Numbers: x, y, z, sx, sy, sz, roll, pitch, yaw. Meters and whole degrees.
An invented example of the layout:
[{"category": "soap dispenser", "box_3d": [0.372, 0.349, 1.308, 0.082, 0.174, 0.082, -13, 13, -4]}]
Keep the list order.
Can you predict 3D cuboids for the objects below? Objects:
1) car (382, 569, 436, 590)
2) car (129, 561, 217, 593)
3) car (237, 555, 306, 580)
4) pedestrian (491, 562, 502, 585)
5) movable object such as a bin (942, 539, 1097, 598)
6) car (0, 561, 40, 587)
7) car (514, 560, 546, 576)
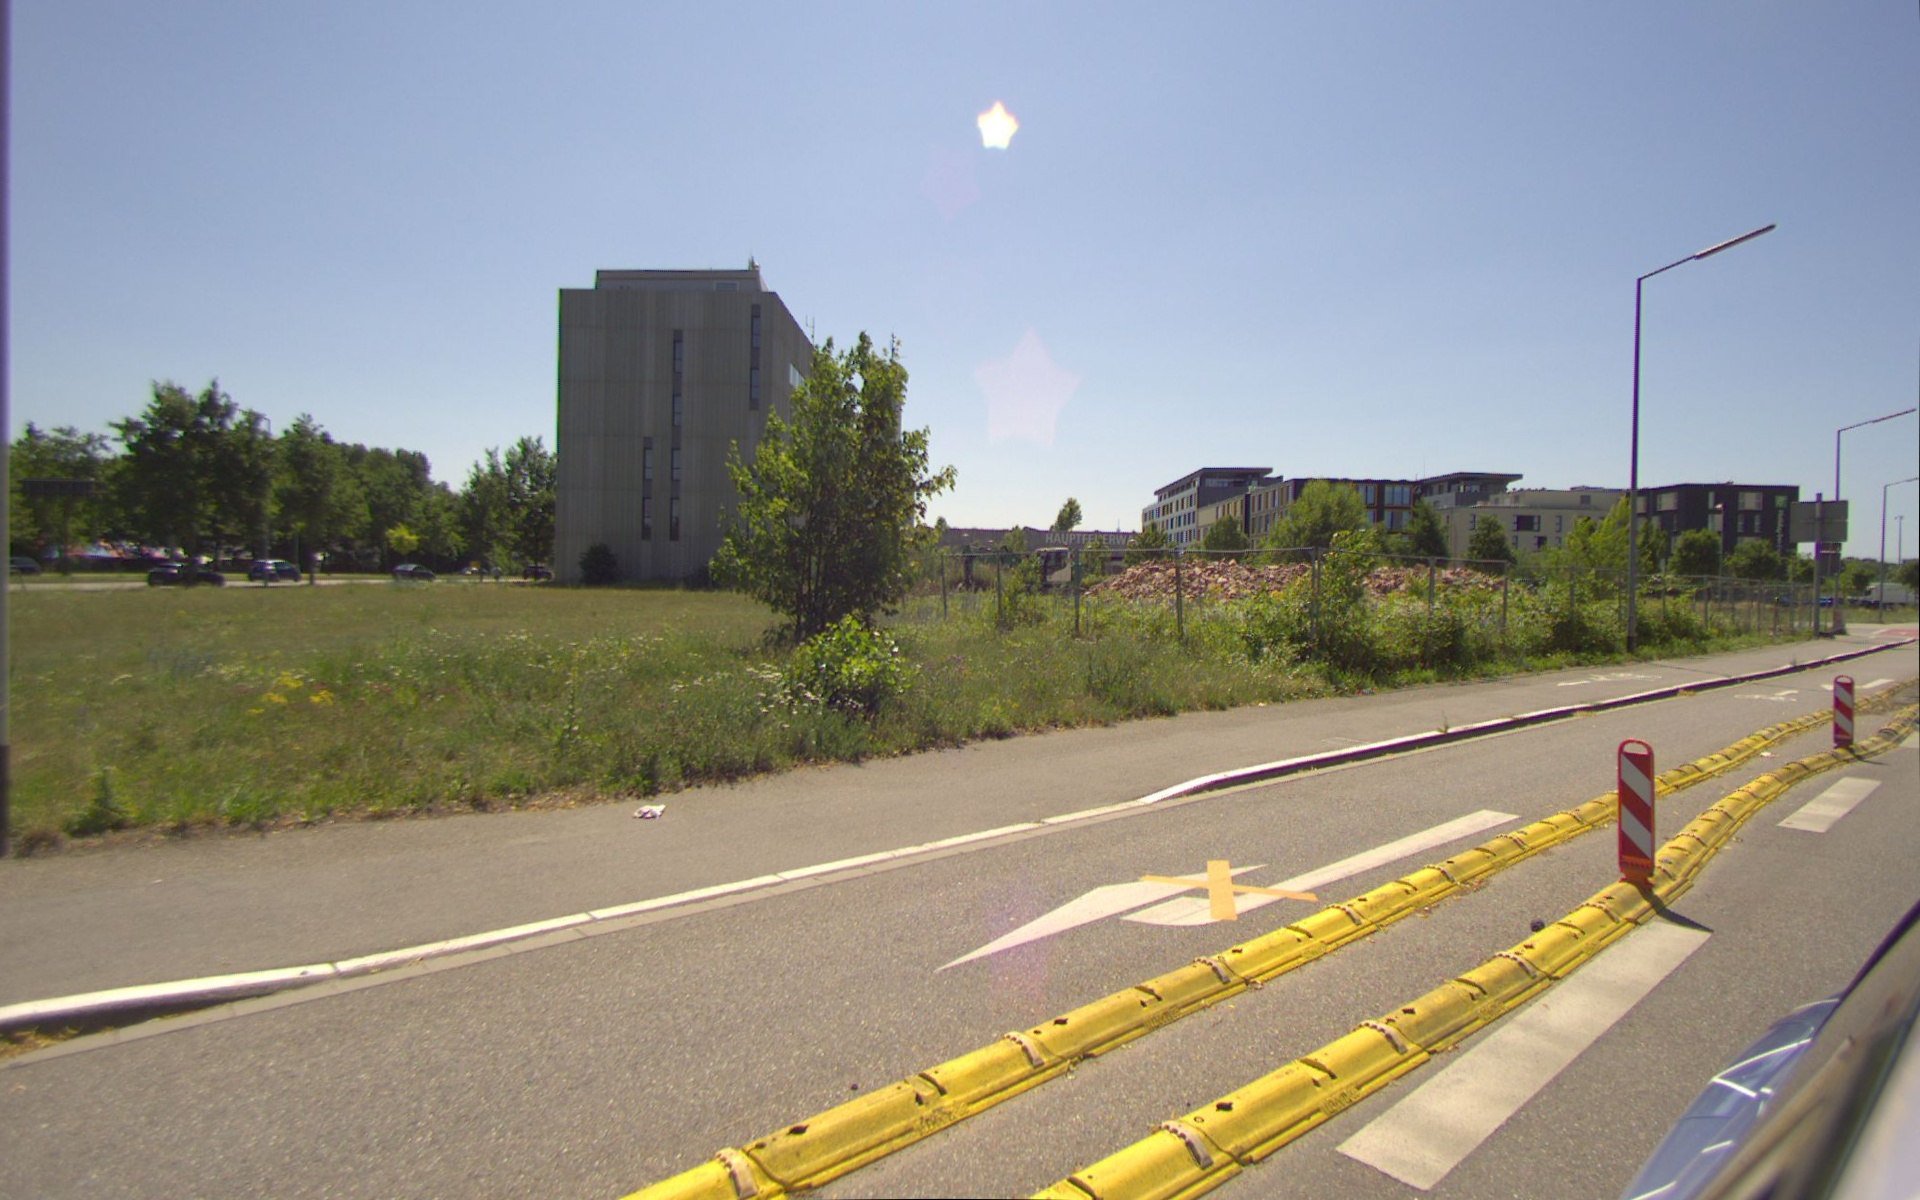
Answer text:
[{"category": "car", "box_3d": [-45.115, -1.667, 82.963, 1.963, 1.615, 4.418, 2, 1, 1]}, {"category": "car", "box_3d": [-42.805, -1.214, 55.156, 1.694, 1.571, 4.002, 3, 0, -2]}, {"category": "car", "box_3d": [-48.378, -2.247, 71.194, 1.961, 1.615, 4.422, 2, 1, -3]}, {"category": "pedestrian", "box_3d": [-33.328, -1.898, 72.768, 0.652, 1.611, 0.557, 0, 0, -15]}, {"category": "movable object such as a bin", "box_3d": [3.142, -1.602, 53.318, 7.537, 2.952, 3.242, -1, 0, -26]}, {"category": "car", "box_3d": [-59.547, -1.596, 62.243, 1.814, 1.612, 4.443, 0, 0, 1]}, {"category": "car", "box_3d": [-48.168, -3.553, 113.365, 1.960, 1.615, 4.424, 2, 1, -4]}]
